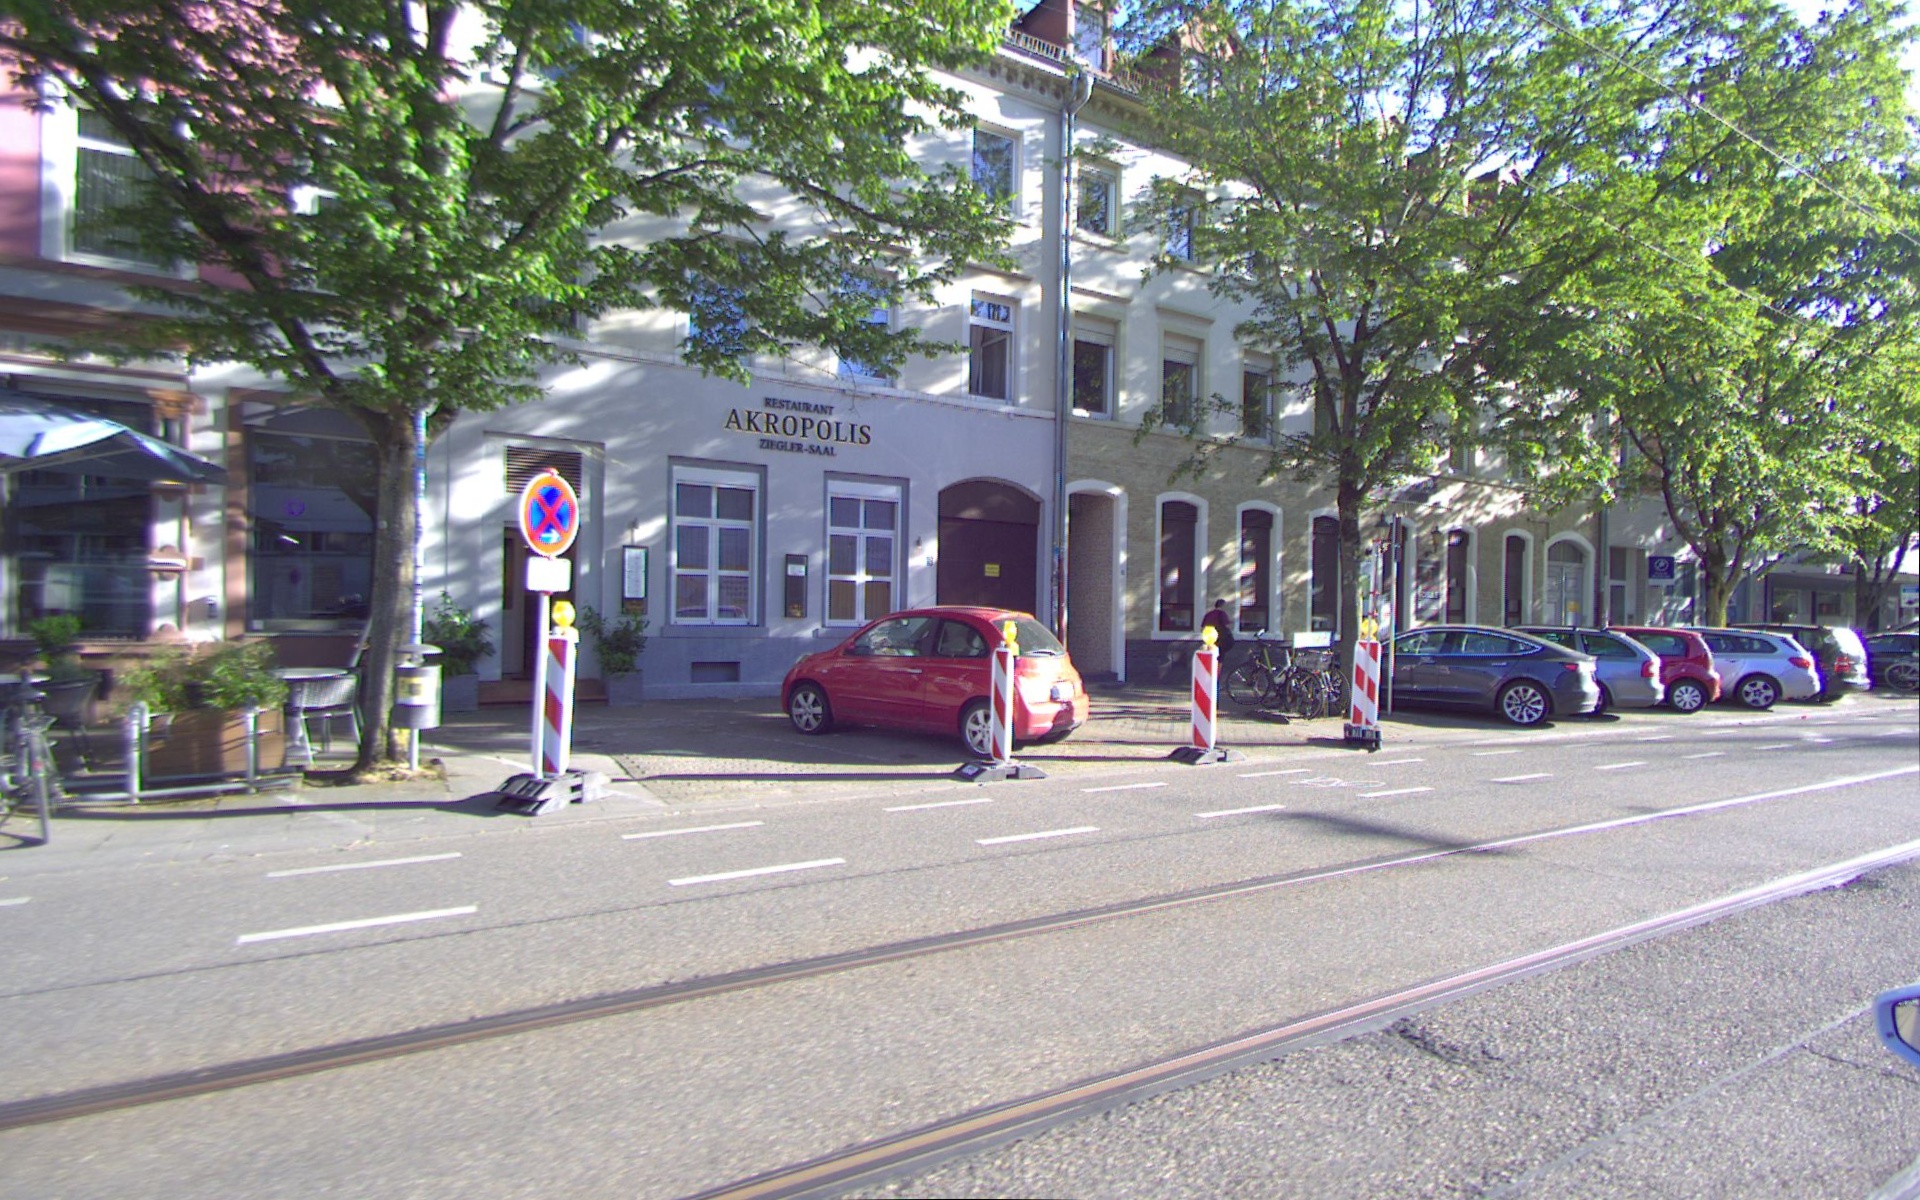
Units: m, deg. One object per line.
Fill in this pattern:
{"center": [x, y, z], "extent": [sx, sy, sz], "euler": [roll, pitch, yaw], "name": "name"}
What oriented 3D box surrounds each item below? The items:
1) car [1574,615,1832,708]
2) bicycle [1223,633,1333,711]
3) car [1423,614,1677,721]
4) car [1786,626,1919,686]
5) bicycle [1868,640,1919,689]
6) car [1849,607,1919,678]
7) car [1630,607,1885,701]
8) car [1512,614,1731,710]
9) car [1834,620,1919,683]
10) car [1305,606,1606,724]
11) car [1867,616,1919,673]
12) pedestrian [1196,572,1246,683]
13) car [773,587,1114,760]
{"center": [15.029, 1.171, 20.631], "extent": [4.047, 1.533, 1.836], "euler": [3, 1, 33], "name": "car"}
{"center": [4.784, 1.075, 15.159], "extent": [1.562, 1.110, 0.334], "euler": [1, -1, 15], "name": "bicycle"}
{"center": [10.216, 1.100, 17.603], "extent": [3.619, 1.490, 1.750], "euler": [3, 1, 31], "name": "car"}
{"center": [24.490, 1.471, 26.732], "extent": [3.812, 1.496, 1.834], "euler": [0, -1, 42], "name": "car"}
{"center": [24.047, 1.644, 25.095], "extent": [1.943, 1.160, 0.490], "euler": [3, 1, 42], "name": "bicycle"}
{"center": [29.173, 1.325, 29.534], "extent": [4.299, 2.013, 1.941], "euler": [3, 1, 38], "name": "car"}
{"center": [17.820, 1.138, 22.642], "extent": [1.821, 1.700, 4.079], "euler": [2, 2, -33], "name": "car"}
{"center": [12.530, 1.115, 19.227], "extent": [3.314, 1.513, 1.609], "euler": [3, 2, 31], "name": "car"}
{"center": [27.188, 1.430, 27.978], "extent": [4.183, 1.707, 1.803], "euler": [0, -1, 39], "name": "car"}
{"center": [7.991, 0.948, 16.323], "extent": [4.130, 1.511, 1.938], "euler": [3, 1, 33], "name": "car"}
{"center": [31.292, 1.494, 31.266], "extent": [4.225, 1.689, 1.905], "euler": [4, 1, 35], "name": "car"}
{"center": [4.929, 0.515, 18.989], "extent": [0.550, 2.040, 0.728], "euler": [2, -1, -30], "name": "pedestrian"}
{"center": [-0.247, 0.698, 11.474], "extent": [3.563, 1.574, 1.664], "euler": [3, 2, 33], "name": "car"}
